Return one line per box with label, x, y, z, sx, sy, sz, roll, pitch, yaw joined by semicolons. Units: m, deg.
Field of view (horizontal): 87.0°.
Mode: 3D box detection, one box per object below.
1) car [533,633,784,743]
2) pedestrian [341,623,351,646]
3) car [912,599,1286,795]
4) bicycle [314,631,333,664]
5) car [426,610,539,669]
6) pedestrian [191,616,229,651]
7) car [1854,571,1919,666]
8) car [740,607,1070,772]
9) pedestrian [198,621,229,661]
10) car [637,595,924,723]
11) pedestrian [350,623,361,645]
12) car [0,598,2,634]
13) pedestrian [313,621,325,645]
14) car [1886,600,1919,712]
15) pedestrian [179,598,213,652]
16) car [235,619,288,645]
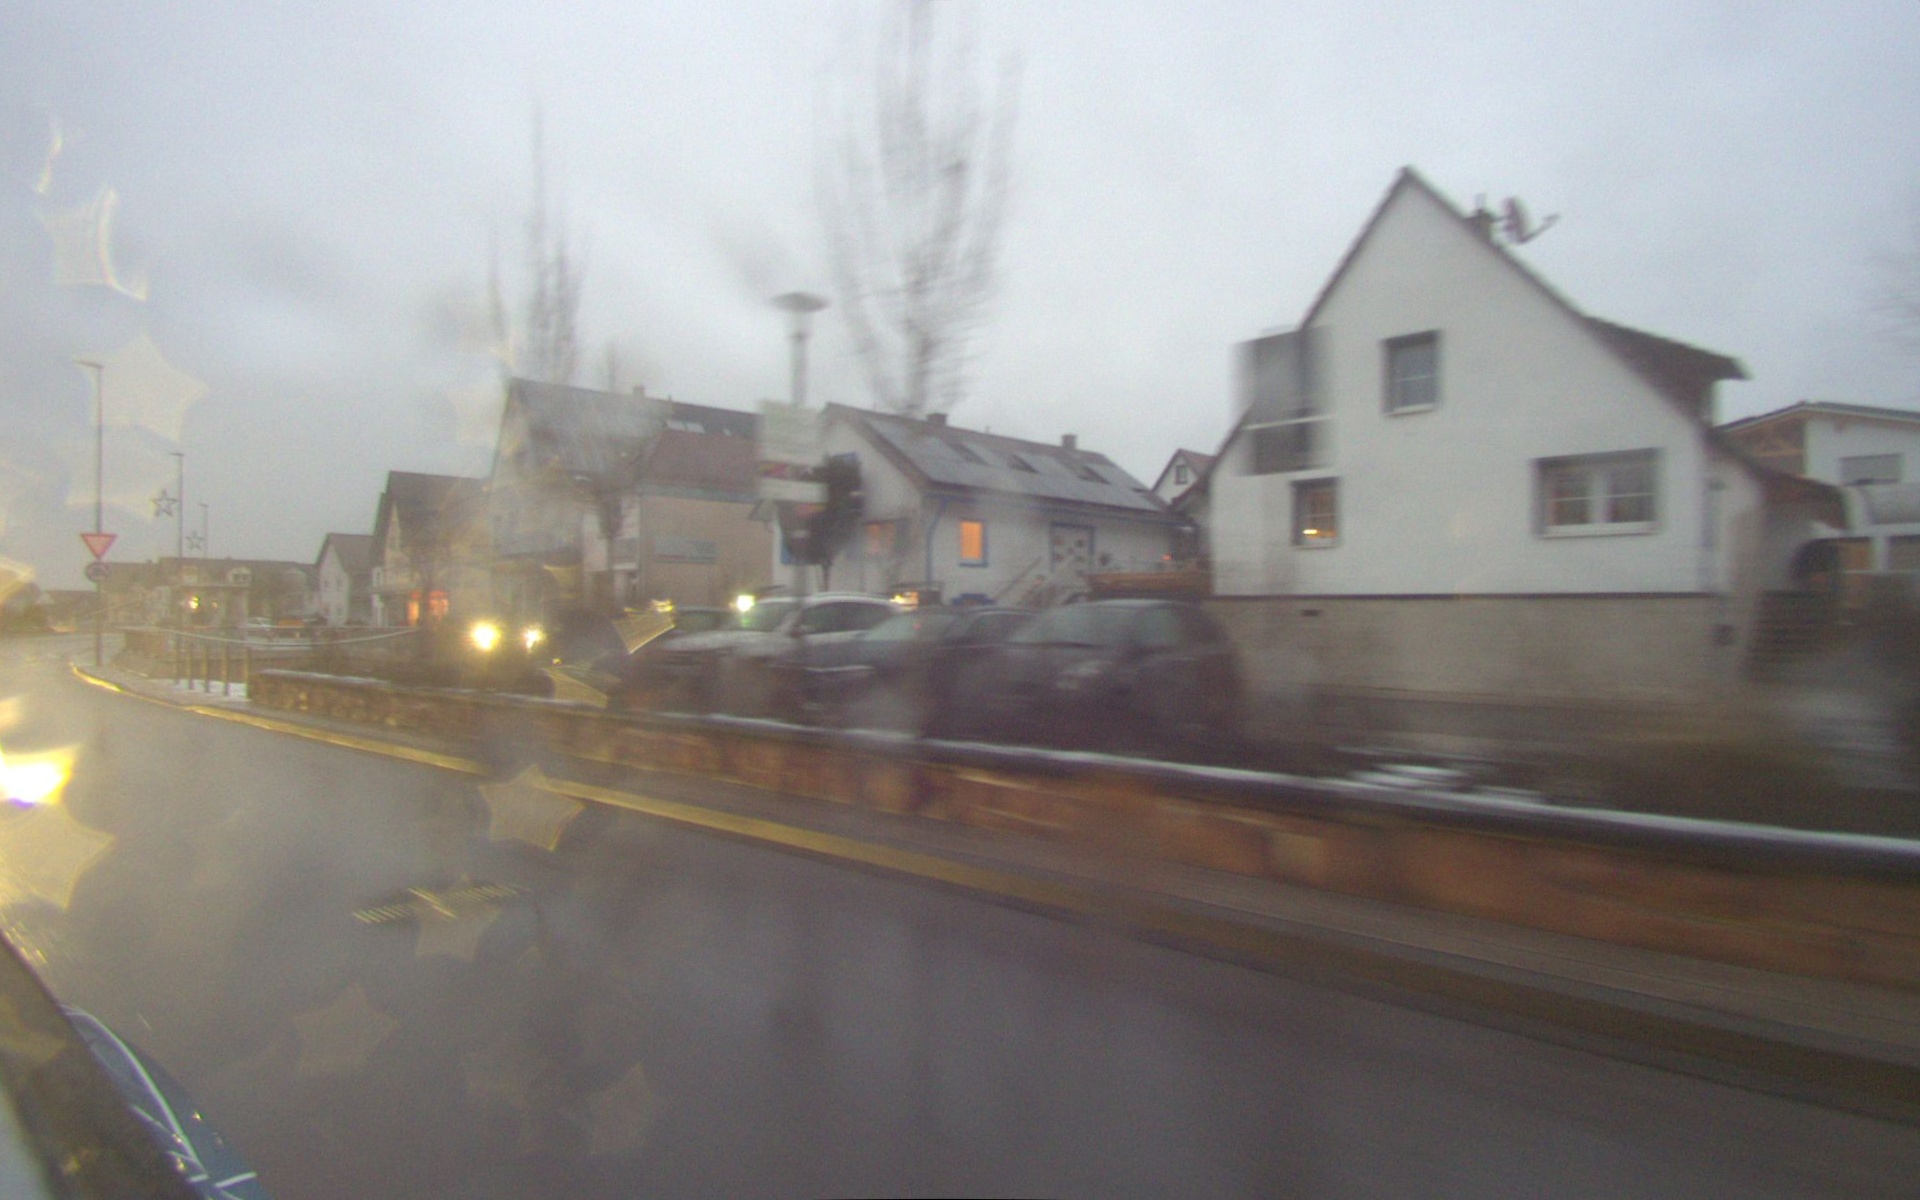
car;-4.562;1.267;15.646;1.599;1.383;3.410;-2;-1;39
pedestrian;-45.592;2.541;75.153;0.500;1.623;0.574;2;2;45
car;1.606;0.804;10.534;1.879;1.509;4.083;2;2;42
bicycle;-20.789;1.541;33.045;0.463;1.017;1.744;1;-1;-33
car;-14.851;1.233;31.362;1.734;1.714;4.568;3;-4;-44
pedestrian;-25.761;1.144;34.748;0.976;1.167;0.903;-1;-2;-41
car;18.216;0.298;18.862;1.591;1.671;3.070;1;2;28
car;-0.516;0.925;12.304;1.587;1.620;4.048;-1;0;43
pedestrian;-24.681;1.353;33.454;0.750;1.281;0.677;-2;0;45
car;-2.386;0.704;14.164;1.713;1.534;3.756;0;0;39
pedestrian;-45.455;2.528;76.056;0.500;1.623;0.574;2;2;45
car;-53.008;0.956;53.934;2.025;2.001;4.550;-1;2;-33
pedestrian;-43.922;2.246;69.368;0.500;1.623;0.574;2;2;45
car;15.438;0.811;15.105;1.997;1.509;4.046;2;2;37
pedestrian;-25.480;0.828;33.760;0.687;1.755;0.740;-2;0;40
car;-55.798;2.516;80.822;3.852;1.895;1.918;1;2;27
